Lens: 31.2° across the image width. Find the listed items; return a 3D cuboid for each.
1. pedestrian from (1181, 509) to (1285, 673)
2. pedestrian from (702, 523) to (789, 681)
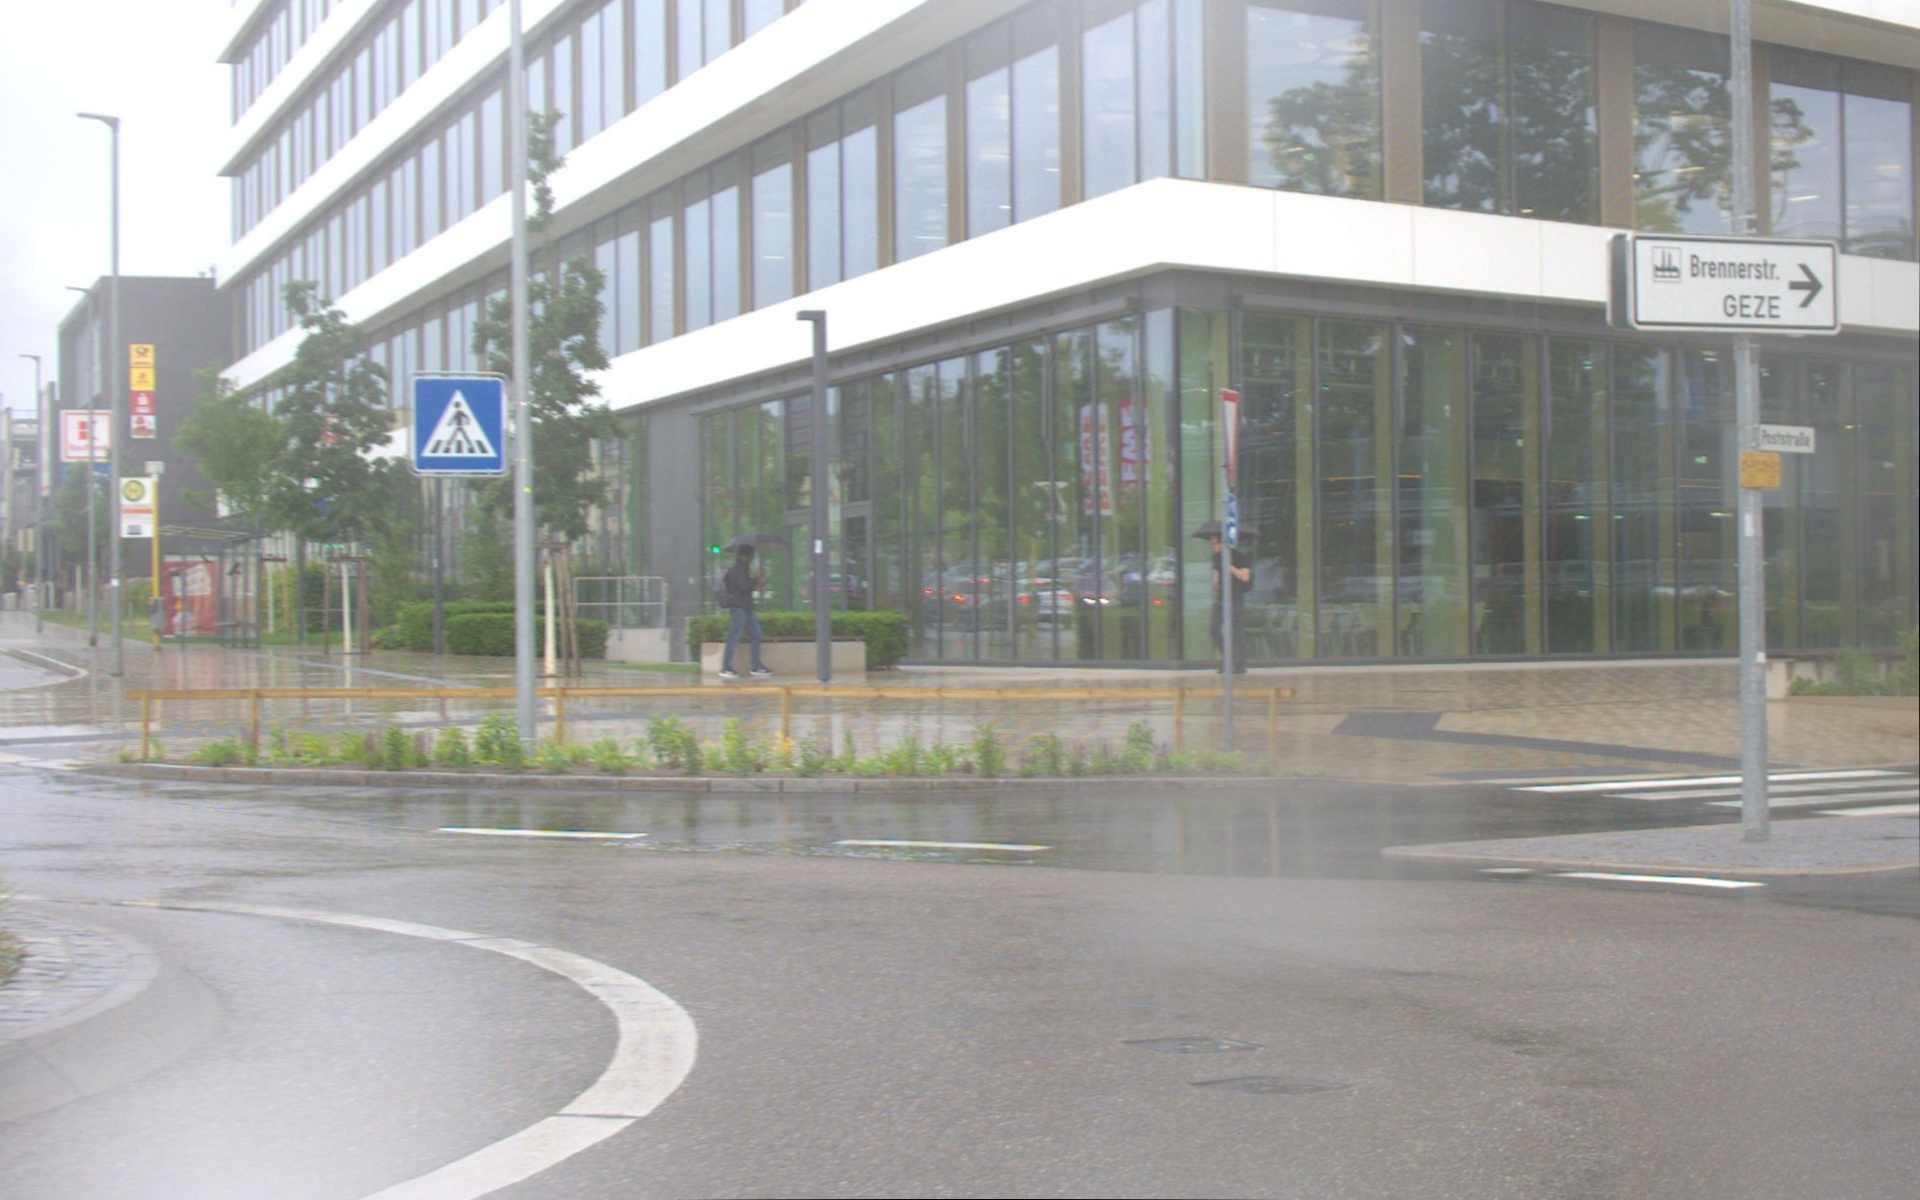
[{"bbox_3d":[3.399,-0.115,42.831,0.893,2.007,0.929,1,1,44],"label":"pedestrian"},{"bbox_3d":[-2.949,0.025,47.172,1.002,2.138,0.932,0,1,-16],"label":"pedestrian"}]
